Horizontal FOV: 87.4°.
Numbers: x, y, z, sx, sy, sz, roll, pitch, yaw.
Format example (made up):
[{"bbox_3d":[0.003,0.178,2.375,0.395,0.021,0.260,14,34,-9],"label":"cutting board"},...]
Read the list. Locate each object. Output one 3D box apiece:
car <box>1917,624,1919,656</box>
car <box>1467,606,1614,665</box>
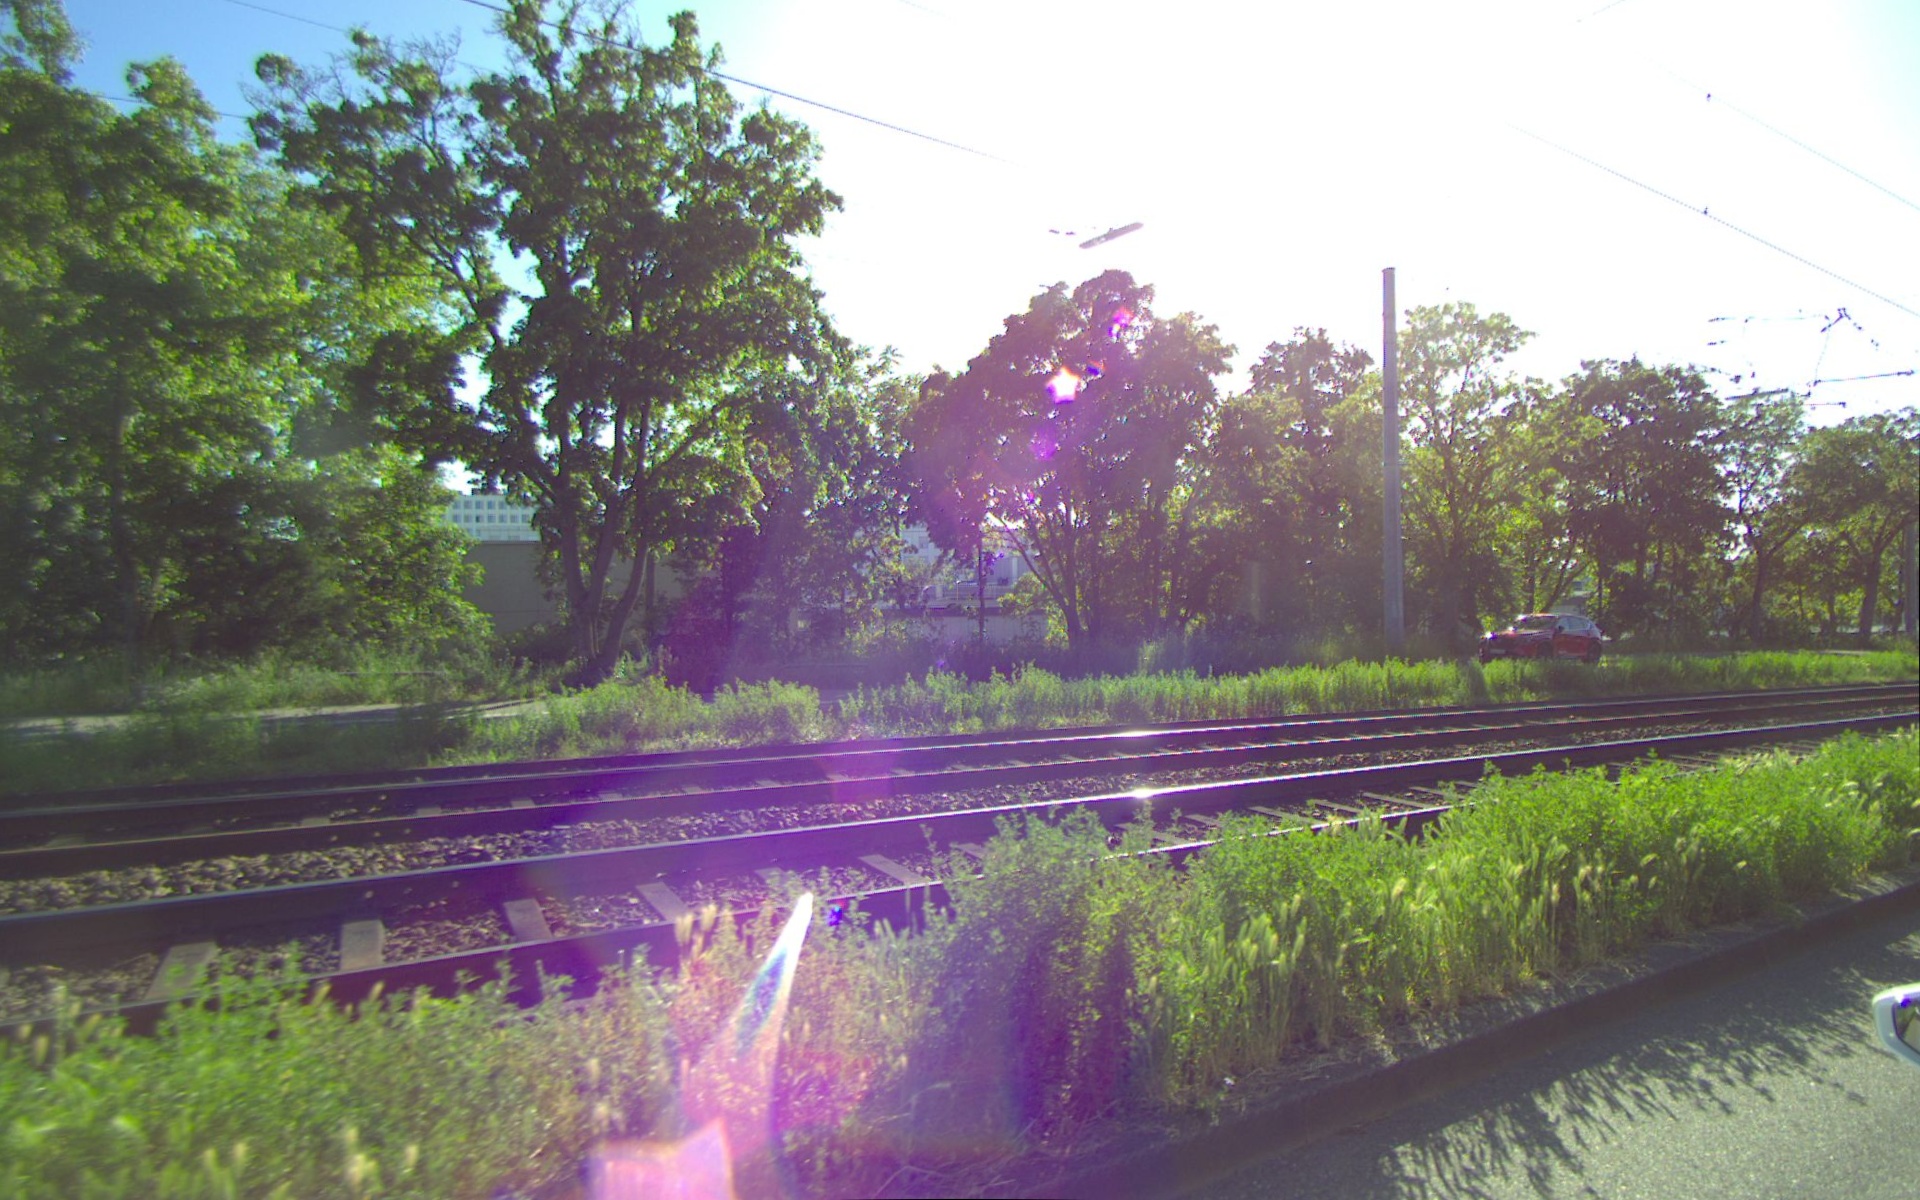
[{"bbox_3d":[47.380,1.939,47.589,4.275,1.514,1.727,1,1,-29],"label":"car"},{"bbox_3d":[18.131,1.079,31.347,4.411,1.725,1.996,1,-1,-29],"label":"car"}]
